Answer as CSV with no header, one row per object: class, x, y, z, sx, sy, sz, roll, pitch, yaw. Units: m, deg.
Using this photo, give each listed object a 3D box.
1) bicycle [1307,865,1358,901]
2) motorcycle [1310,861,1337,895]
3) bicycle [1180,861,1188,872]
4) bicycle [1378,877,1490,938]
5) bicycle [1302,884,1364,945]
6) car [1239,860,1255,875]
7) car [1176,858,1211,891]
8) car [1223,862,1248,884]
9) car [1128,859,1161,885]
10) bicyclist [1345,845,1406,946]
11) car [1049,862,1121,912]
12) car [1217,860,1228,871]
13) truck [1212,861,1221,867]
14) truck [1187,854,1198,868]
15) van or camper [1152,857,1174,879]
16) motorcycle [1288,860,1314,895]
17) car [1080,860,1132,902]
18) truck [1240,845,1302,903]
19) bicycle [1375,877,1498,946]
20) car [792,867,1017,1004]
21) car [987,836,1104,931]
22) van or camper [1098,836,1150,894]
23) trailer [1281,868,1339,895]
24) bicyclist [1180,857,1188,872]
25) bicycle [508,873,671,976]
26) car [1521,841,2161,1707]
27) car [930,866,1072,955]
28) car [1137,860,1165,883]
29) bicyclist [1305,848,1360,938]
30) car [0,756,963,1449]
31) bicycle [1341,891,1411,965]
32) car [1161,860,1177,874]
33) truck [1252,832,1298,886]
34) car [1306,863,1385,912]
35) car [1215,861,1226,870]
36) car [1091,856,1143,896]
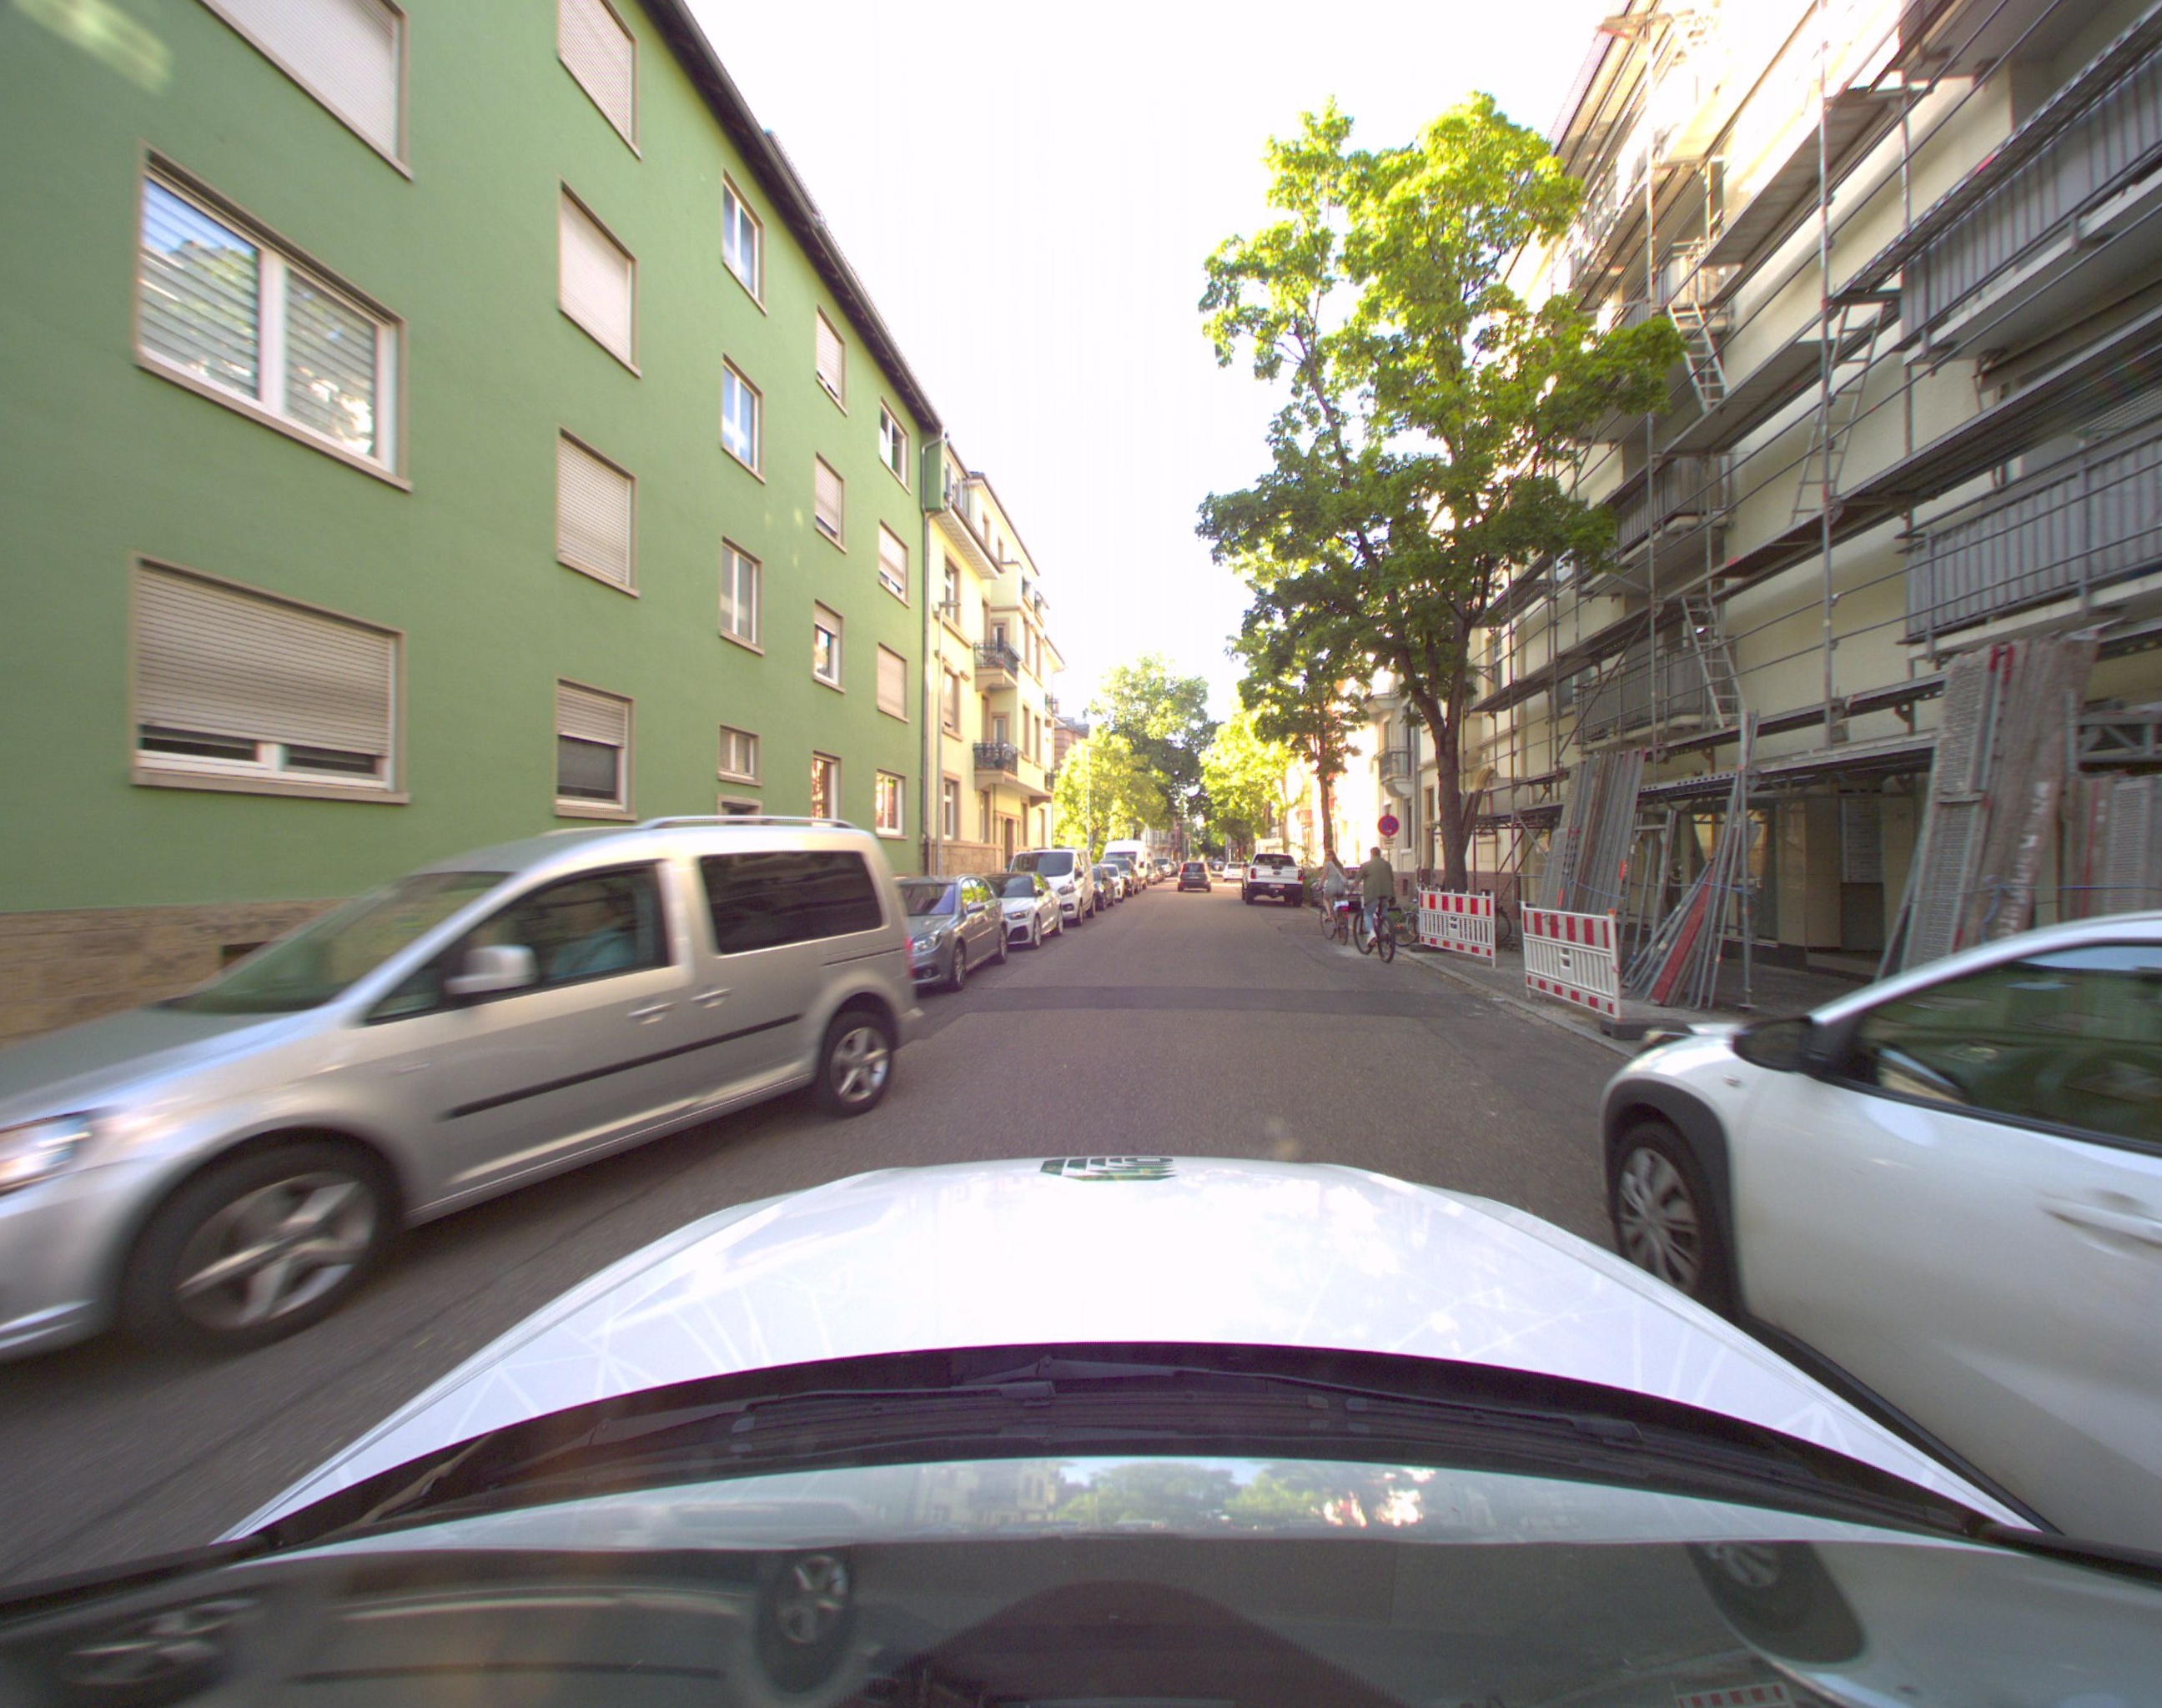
bicycle,9.314,1.078,30.189,1.749,1.305,0.587,0,-1,6
motorcycle,10.592,1.043,35.686,0.856,1.416,2.240,0,0,10
bicycle,10.639,1.315,84.388,0.661,1.077,1.689,4,0,9
bicycle,6.919,1.032,16.067,1.960,1.121,0.751,0,0,19
bicycle,4.920,1.160,16.009,0.703,1.045,1.859,3,-1,3
car,17.383,1.430,85.507,1.511,1.511,3.552,-1,-1,9
car,5.609,0.985,40.377,1.623,1.550,3.272,-2,-1,9
car,11.647,1.424,61.641,1.669,1.544,3.808,1,0,8
car,4.264,1.157,54.220,1.770,1.591,4.479,-3,-1,8
bicyclist,4.810,0.656,13.342,0.751,1.565,0.984,1,0,9
car,0.233,1.063,28.022,1.756,1.521,4.836,-1,-1,9
car,22.468,1.840,129.610,1.653,1.669,3.767,1,0,10
truck,32.012,2.353,192.439,1.982,1.457,4.010,0,0,9
truck,25.348,1.562,184.983,2.058,2.926,5.081,-4,-1,9
van or camper,8.170,1.373,81.035,1.911,1.980,5.473,-3,-1,8
motorcycle,9.659,0.993,35.792,0.924,1.486,2.144,0,0,10
car,1.079,1.040,32.718,1.626,1.552,4.097,-1,-1,8
truck,6.948,0.700,30.263,1.818,1.949,5.554,0,0,9
bicycle,6.382,0.999,14.675,1.904,1.121,0.752,0,0,38
car,-2.179,0.957,11.442,1.711,1.462,4.514,-3,-1,6
car,-0.789,0.727,22.043,2.240,2.169,5.253,-3,-1,7
van or camper,2.394,0.570,43.511,2.116,2.769,5.865,-2,-1,8
trailer,9.522,1.129,33.867,2.077,1.112,1.114,0,-1,-6
bicyclist,10.670,1.080,84.391,0.648,1.508,0.626,4,0,9
bicycle,-5.862,0.792,9.871,0.484,1.075,1.974,3,0,9
car,2.556,0.764,1.628,1.791,1.535,3.975,1,0,10
car,-1.429,1.022,16.421,1.823,1.462,4.372,-3,-1,7
car,5.250,1.275,60.361,1.666,1.572,4.162,-3,-1,9
bicyclist,4.913,0.744,15.956,0.712,1.689,0.981,2,-1,1
car,-2.716,0.690,4.346,1.754,1.843,4.443,-3,-1,28
bicycle,4.829,1.174,13.439,0.734,1.060,1.862,1,-1,9
car,10.458,1.516,96.728,1.815,1.554,4.140,-4,-1,6
truck,11.827,0.311,49.993,2.062,2.969,6.122,-3,-1,8
car,8.454,1.019,26.332,1.670,1.422,4.440,-2,-1,8
car,22.992,1.888,134.086,1.653,1.505,3.767,1,0,10
car,1.748,0.972,37.758,1.865,1.685,4.981,-2,-1,8
